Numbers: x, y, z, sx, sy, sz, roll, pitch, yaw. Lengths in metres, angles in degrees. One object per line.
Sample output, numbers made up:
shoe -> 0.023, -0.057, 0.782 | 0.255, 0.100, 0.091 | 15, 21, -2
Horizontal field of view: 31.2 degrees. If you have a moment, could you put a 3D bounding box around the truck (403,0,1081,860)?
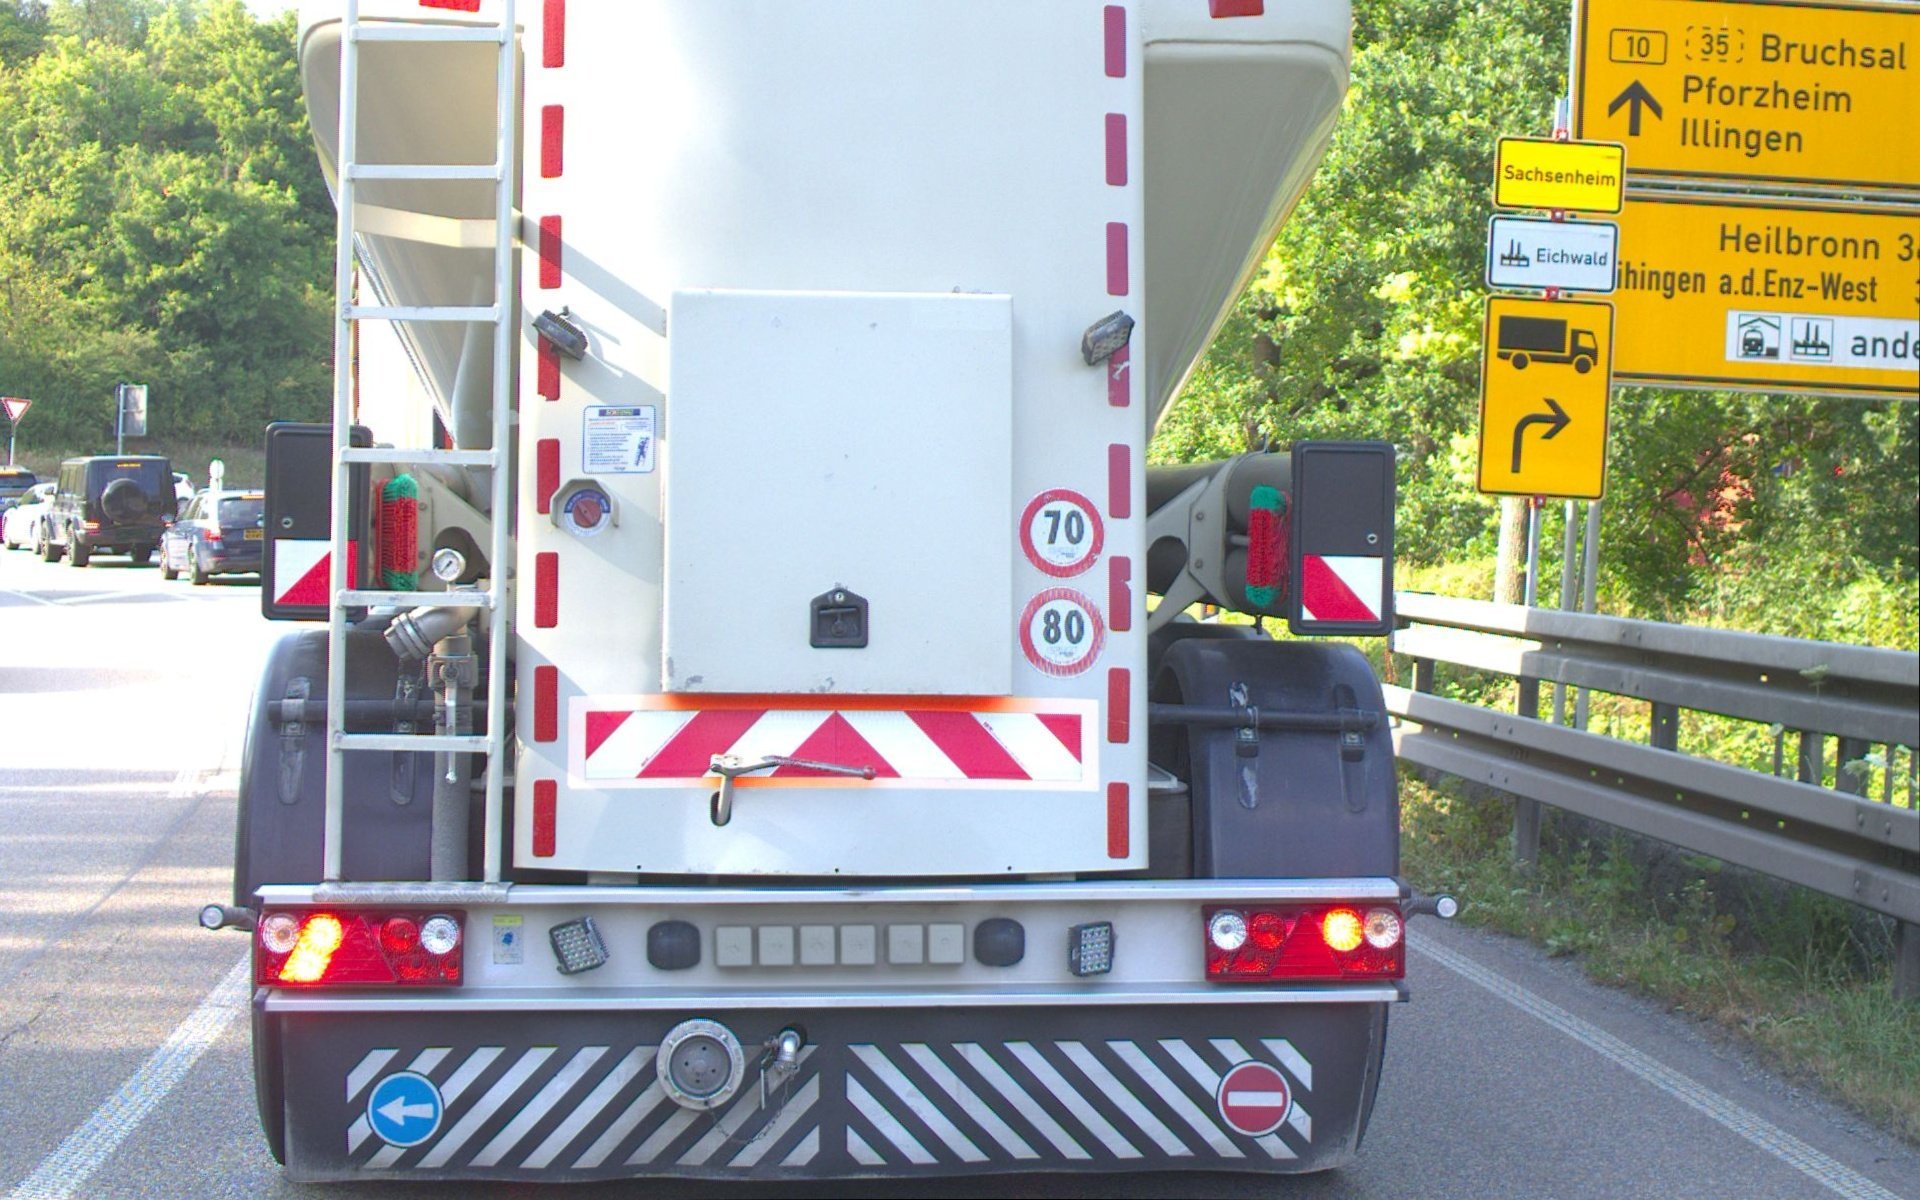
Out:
truck -> -1.276, -0.981, 17.490 | 2.823, 4.021, 5.896 | 1, 1, -7

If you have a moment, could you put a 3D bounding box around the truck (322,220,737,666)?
truck -> -4.615, -1.526, 35.514 | 3.449, 4.072, 6.493 | 2, 1, -13

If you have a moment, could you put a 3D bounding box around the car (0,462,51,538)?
car -> -21.369, -2.245, 75.419 | 1.867, 1.589, 4.001 | 2, 1, -27

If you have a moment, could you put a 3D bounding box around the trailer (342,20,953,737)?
trailer -> -3.137, -1.541, 28.574 | 3.544, 4.497, 12.988 | 2, 1, -11

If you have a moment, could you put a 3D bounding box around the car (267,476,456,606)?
car -> -7.935, -0.819, 45.344 | 1.867, 1.622, 4.002 | -1, 2, -18

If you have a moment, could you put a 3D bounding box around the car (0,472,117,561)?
car -> -18.654, -1.730, 70.151 | 1.867, 1.677, 4.001 | 2, 1, -27

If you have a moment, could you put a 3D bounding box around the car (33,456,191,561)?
car -> -15.433, -1.697, 62.458 | 1.956, 1.845, 4.001 | -1, 3, -26

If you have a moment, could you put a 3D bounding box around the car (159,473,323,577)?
car -> -11.290, -1.194, 53.803 | 1.867, 1.559, 4.001 | -1, 2, -21

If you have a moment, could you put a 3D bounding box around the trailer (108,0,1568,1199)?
trailer -> -0.657, -1.022, 11.646 | 2.886, 4.439, 9.608 | 1, 1, -5

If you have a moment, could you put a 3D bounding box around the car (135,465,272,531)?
car -> -25.590, -3.452, 116.344 | 3.988, 2.007, 2.000 | 2, 1, -40
